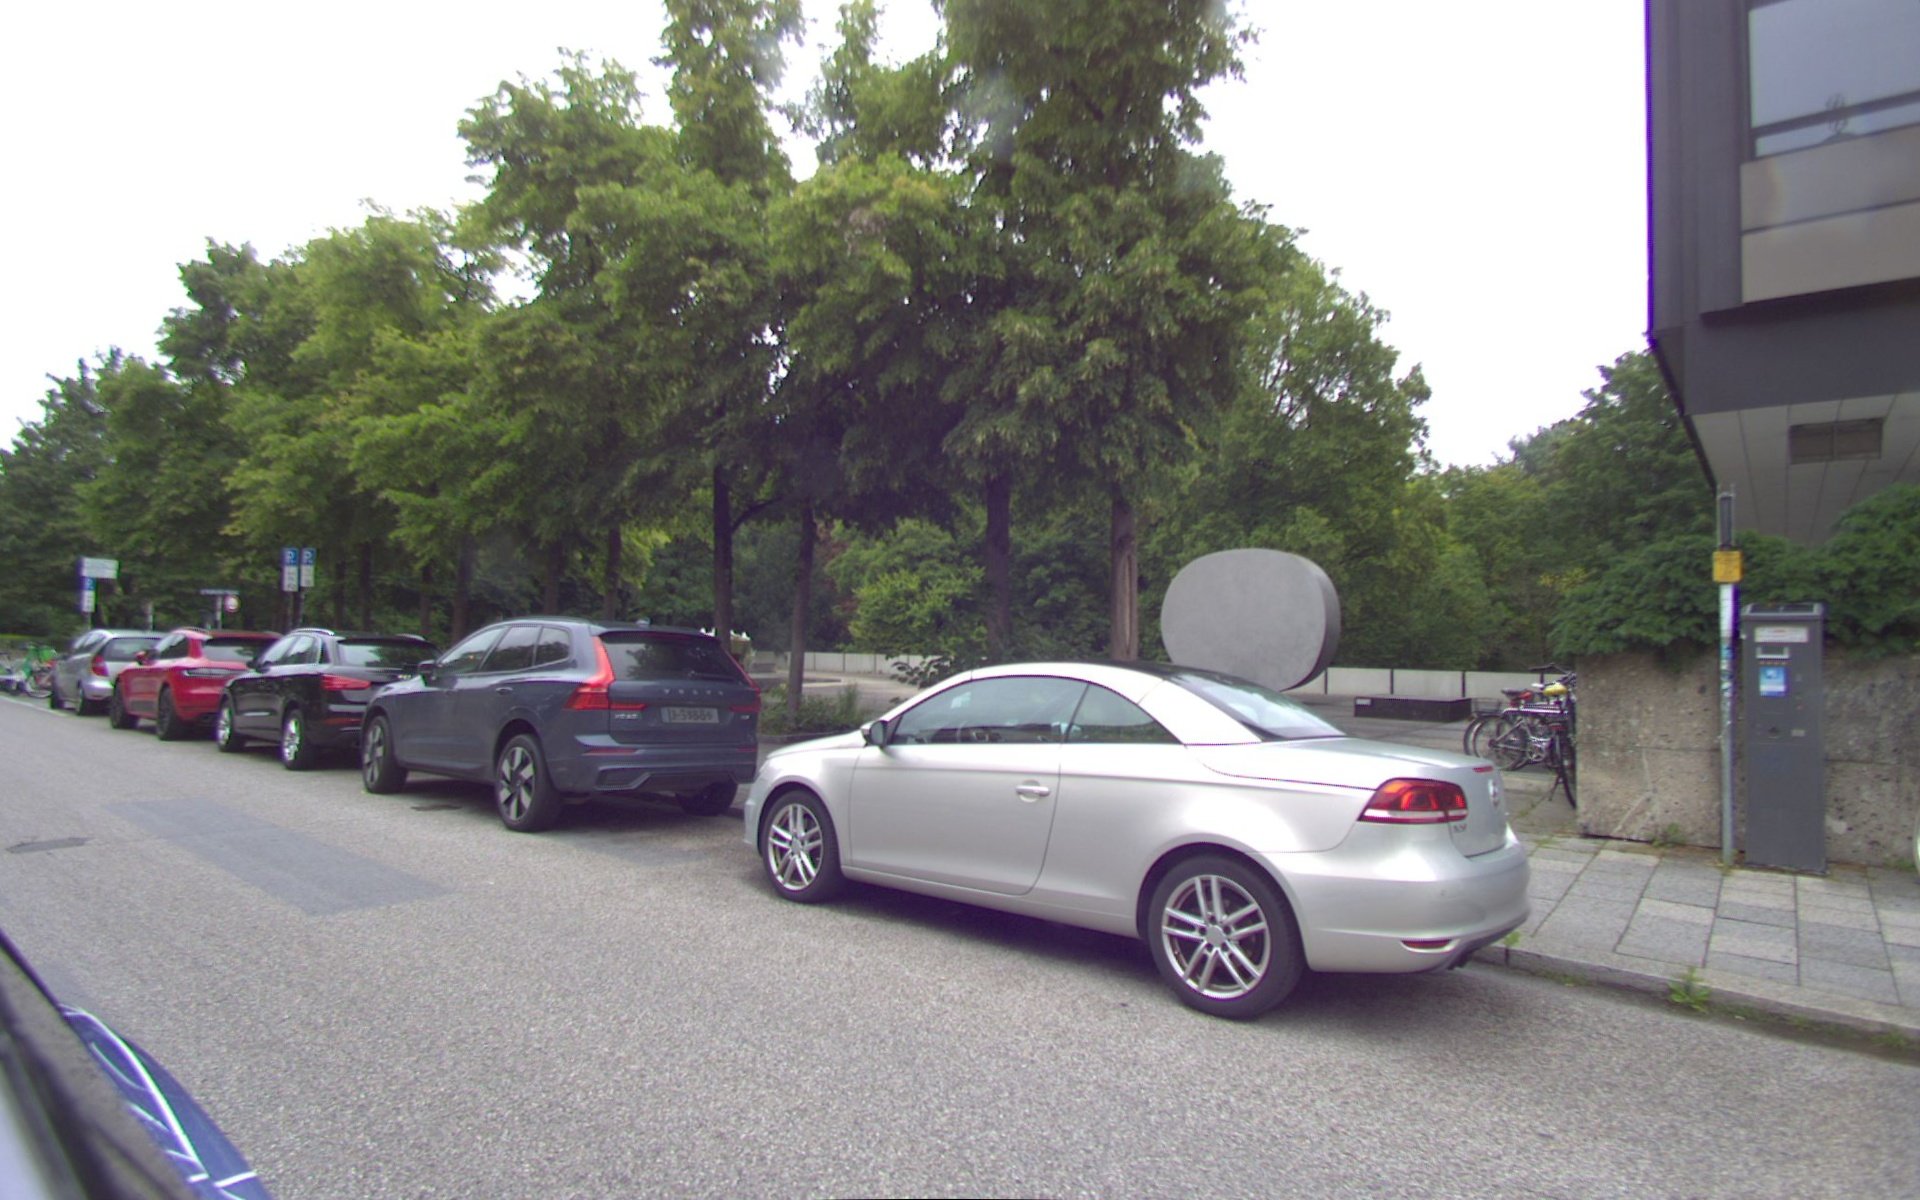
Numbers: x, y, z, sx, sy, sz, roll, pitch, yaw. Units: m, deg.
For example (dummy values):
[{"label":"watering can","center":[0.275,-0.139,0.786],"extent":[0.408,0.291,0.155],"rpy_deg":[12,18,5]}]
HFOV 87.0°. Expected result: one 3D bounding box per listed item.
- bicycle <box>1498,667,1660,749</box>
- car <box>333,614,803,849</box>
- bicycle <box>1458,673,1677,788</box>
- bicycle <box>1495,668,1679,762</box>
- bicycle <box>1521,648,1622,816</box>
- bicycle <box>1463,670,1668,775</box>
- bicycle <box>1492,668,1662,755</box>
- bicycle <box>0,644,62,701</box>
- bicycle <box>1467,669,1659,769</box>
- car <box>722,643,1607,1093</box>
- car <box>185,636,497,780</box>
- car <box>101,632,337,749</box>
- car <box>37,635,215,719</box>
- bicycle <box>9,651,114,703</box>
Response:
[{"label":"bicycle","center":[10.215,1.742,16.762],"extent":[2.180,1.226,0.741],"rpy_deg":[-2,-4,41]},{"label":"car","center":[-3.683,0.999,9.133],"extent":[4.517,1.595,1.973],"rpy_deg":[-2,-4,40]},{"label":"bicycle","center":[7.348,1.535,12.320],"extent":[2.180,1.226,0.741],"rpy_deg":[-2,-4,41]},{"label":"bicycle","center":[9.126,1.638,14.794],"extent":[2.180,1.226,0.741],"rpy_deg":[-2,-4,41]},{"label":"bicycle","center":[5.617,1.121,9.291],"extent":[0.689,1.283,2.158],"rpy_deg":[-1,-1,32]},{"label":"bicycle","center":[7.862,1.547,13.220],"extent":[2.180,1.226,0.741],"rpy_deg":[-2,-4,41]},{"label":"bicycle","center":[9.651,1.712,15.894],"extent":[2.180,1.226,0.741],"rpy_deg":[-2,-4,41]},{"label":"bicycle","center":[-22.119,1.698,24.096],"extent":[0.566,1.292,1.423],"rpy_deg":[0,-2,-18]},{"label":"bicycle","center":[8.294,1.594,14.000],"extent":[2.180,1.226,0.741],"rpy_deg":[-2,-4,41]},{"label":"car","center":[0.776,0.995,5.313],"extent":[4.214,1.411,1.740],"rpy_deg":[-2,-7,41]},{"label":"car","center":[-7.869,1.219,12.680],"extent":[4.644,1.472,1.973],"rpy_deg":[-2,-4,41]},{"label":"car","center":[-11.568,1.308,15.689],"extent":[4.361,1.556,1.973],"rpy_deg":[-2,-4,41]},{"label":"car","center":[-16.614,1.465,20.102],"extent":[4.361,1.472,1.973],"rpy_deg":[-2,-4,41]},{"label":"bicycle","center":[-20.728,1.756,23.385],"extent":[0.596,1.116,1.682],"rpy_deg":[-1,-2,31]}]
